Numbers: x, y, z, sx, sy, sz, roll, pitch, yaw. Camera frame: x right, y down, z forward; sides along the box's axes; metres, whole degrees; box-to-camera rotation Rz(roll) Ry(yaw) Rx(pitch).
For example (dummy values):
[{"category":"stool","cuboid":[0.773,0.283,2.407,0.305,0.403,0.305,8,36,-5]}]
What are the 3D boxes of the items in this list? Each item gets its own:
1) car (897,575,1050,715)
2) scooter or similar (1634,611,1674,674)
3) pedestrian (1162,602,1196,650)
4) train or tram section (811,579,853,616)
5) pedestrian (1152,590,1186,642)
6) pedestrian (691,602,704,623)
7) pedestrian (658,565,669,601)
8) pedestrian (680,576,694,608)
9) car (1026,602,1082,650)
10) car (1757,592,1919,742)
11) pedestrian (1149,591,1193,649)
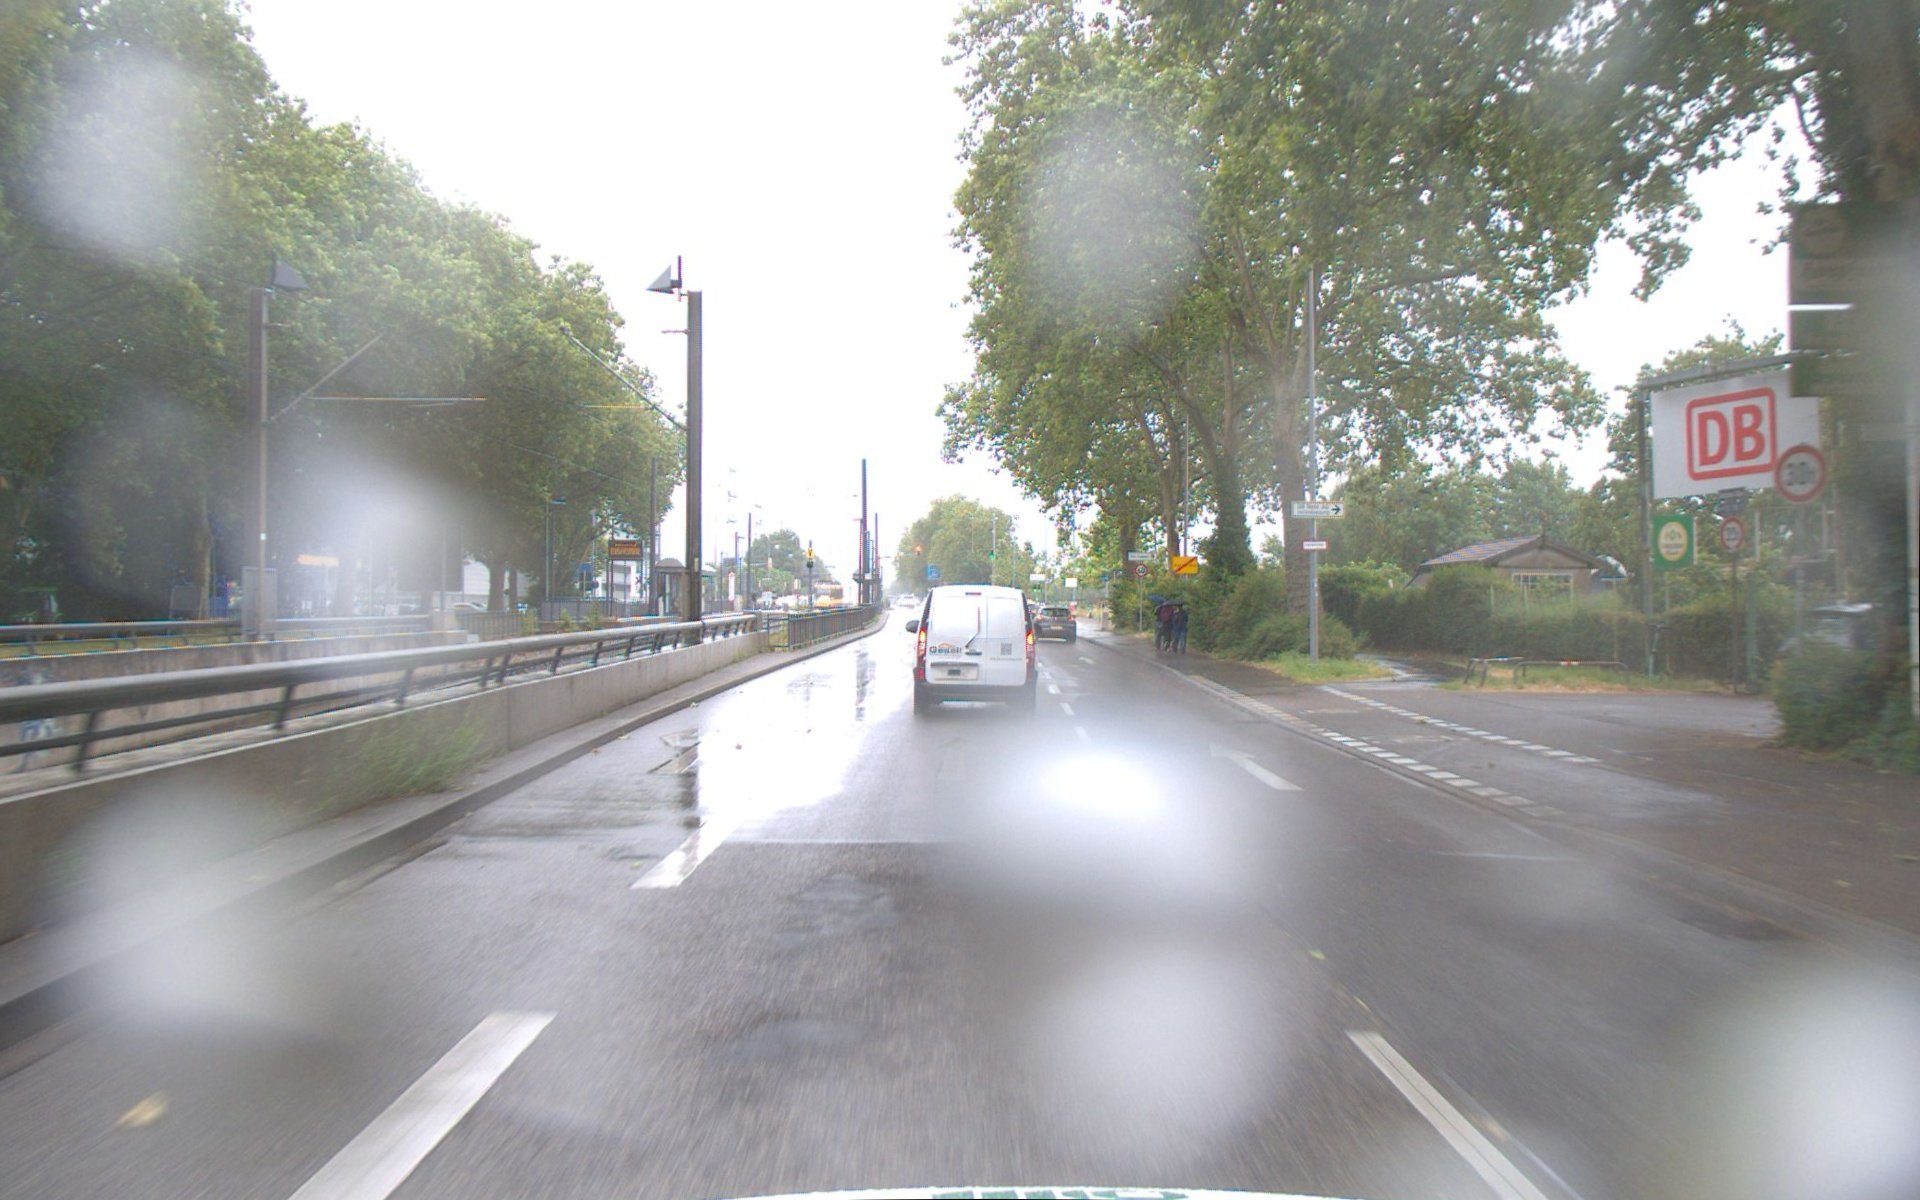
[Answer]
[{"category":"car","cuboid":[0.105,0.613,24.318,1.984,1.806,4.272,2,0,-2]},{"category":"scooter or similar","cuboid":[12.931,0.789,30.835,0.449,1.137,1.276,2,0,12]},{"category":"pedestrian","cuboid":[6.555,0.772,49.557,0.874,1.415,1.016,-1,-1,1]},{"category":"train or tram section","cuboid":[-15.457,-0.282,202.178,3.694,4.107,27.082,2,0,-2]},{"category":"pedestrian","cuboid":[6.612,0.492,52.319,0.927,1.617,1.294,0,0,1]},{"category":"pedestrian","cuboid":[-16.905,0.779,106.649,0.629,1.326,0.815,2,-1,4]},{"category":"pedestrian","cuboid":[-17.005,-0.978,94.856,0.483,2.049,0.582,2,-1,-5]},{"category":"pedestrian","cuboid":[-16.712,-0.485,101.215,0.608,1.967,0.815,2,-1,4]},{"category":"car","cuboid":[3.733,1.028,66.196,1.953,1.780,4.000,2,0,0]},{"category":"car","cuboid":[11.423,0.770,19.481,3.319,1.636,1.655,1,1,-10]},{"category":"pedestrian","cuboid":[6.862,0.652,53.792,1.214,1.817,1.147,-3,-1,0]}]
